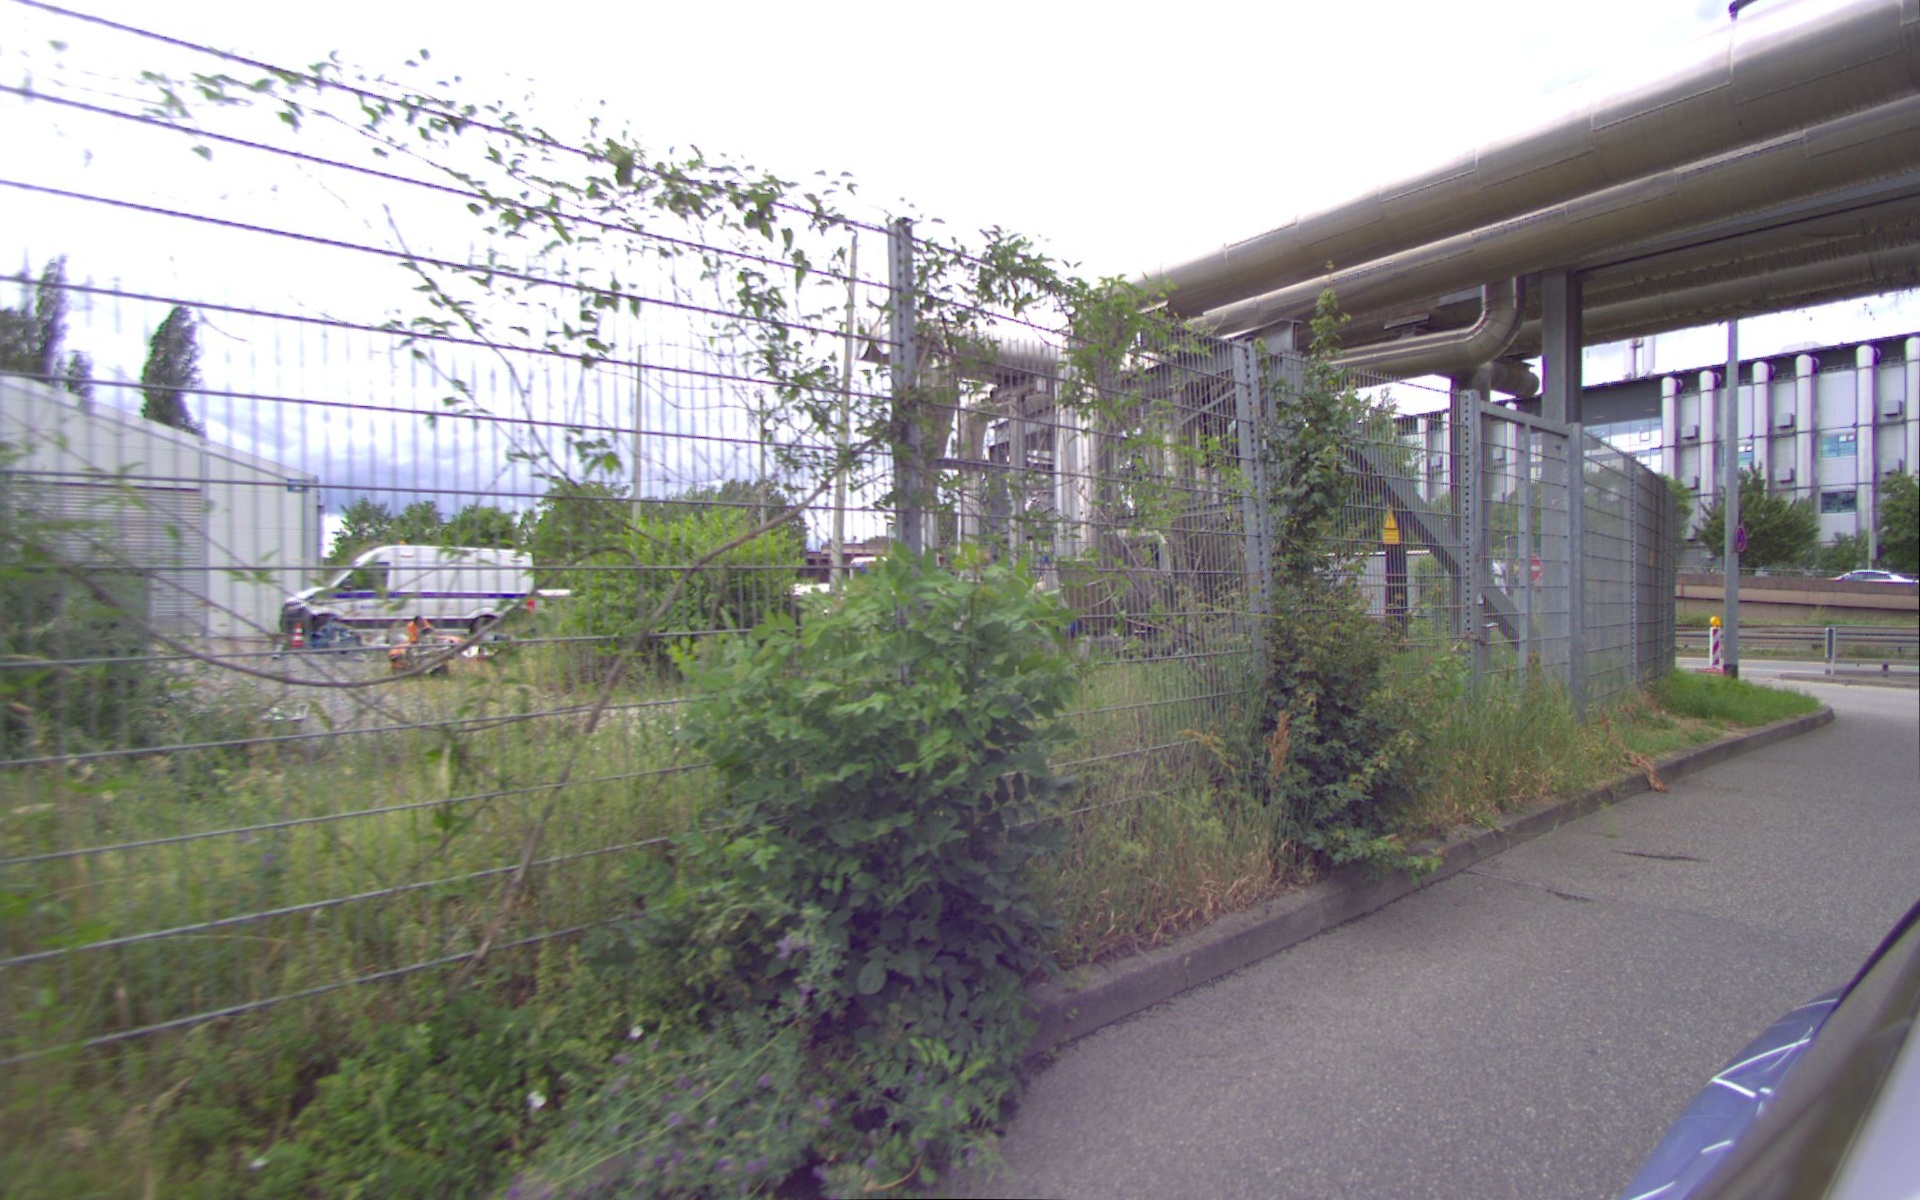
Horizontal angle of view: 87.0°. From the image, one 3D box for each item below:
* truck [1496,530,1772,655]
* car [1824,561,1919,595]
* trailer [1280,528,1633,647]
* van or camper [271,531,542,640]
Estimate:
[{"bbox_3d":[25.040,-0.340,37.985,3.112,4.181,8.123,-3,3,-42],"label":"truck"},{"bbox_3d":[44.962,-1.075,49.188,1.947,1.529,4.286,-4,3,-40],"label":"car"},{"bbox_3d":[20.451,-0.547,43.046,3.114,4.377,13.235,-3,2,-42],"label":"trailer"},{"bbox_3d":[-14.438,-0.379,26.651,6.006,2.580,2.577,0,1,-32],"label":"van or camper"}]
